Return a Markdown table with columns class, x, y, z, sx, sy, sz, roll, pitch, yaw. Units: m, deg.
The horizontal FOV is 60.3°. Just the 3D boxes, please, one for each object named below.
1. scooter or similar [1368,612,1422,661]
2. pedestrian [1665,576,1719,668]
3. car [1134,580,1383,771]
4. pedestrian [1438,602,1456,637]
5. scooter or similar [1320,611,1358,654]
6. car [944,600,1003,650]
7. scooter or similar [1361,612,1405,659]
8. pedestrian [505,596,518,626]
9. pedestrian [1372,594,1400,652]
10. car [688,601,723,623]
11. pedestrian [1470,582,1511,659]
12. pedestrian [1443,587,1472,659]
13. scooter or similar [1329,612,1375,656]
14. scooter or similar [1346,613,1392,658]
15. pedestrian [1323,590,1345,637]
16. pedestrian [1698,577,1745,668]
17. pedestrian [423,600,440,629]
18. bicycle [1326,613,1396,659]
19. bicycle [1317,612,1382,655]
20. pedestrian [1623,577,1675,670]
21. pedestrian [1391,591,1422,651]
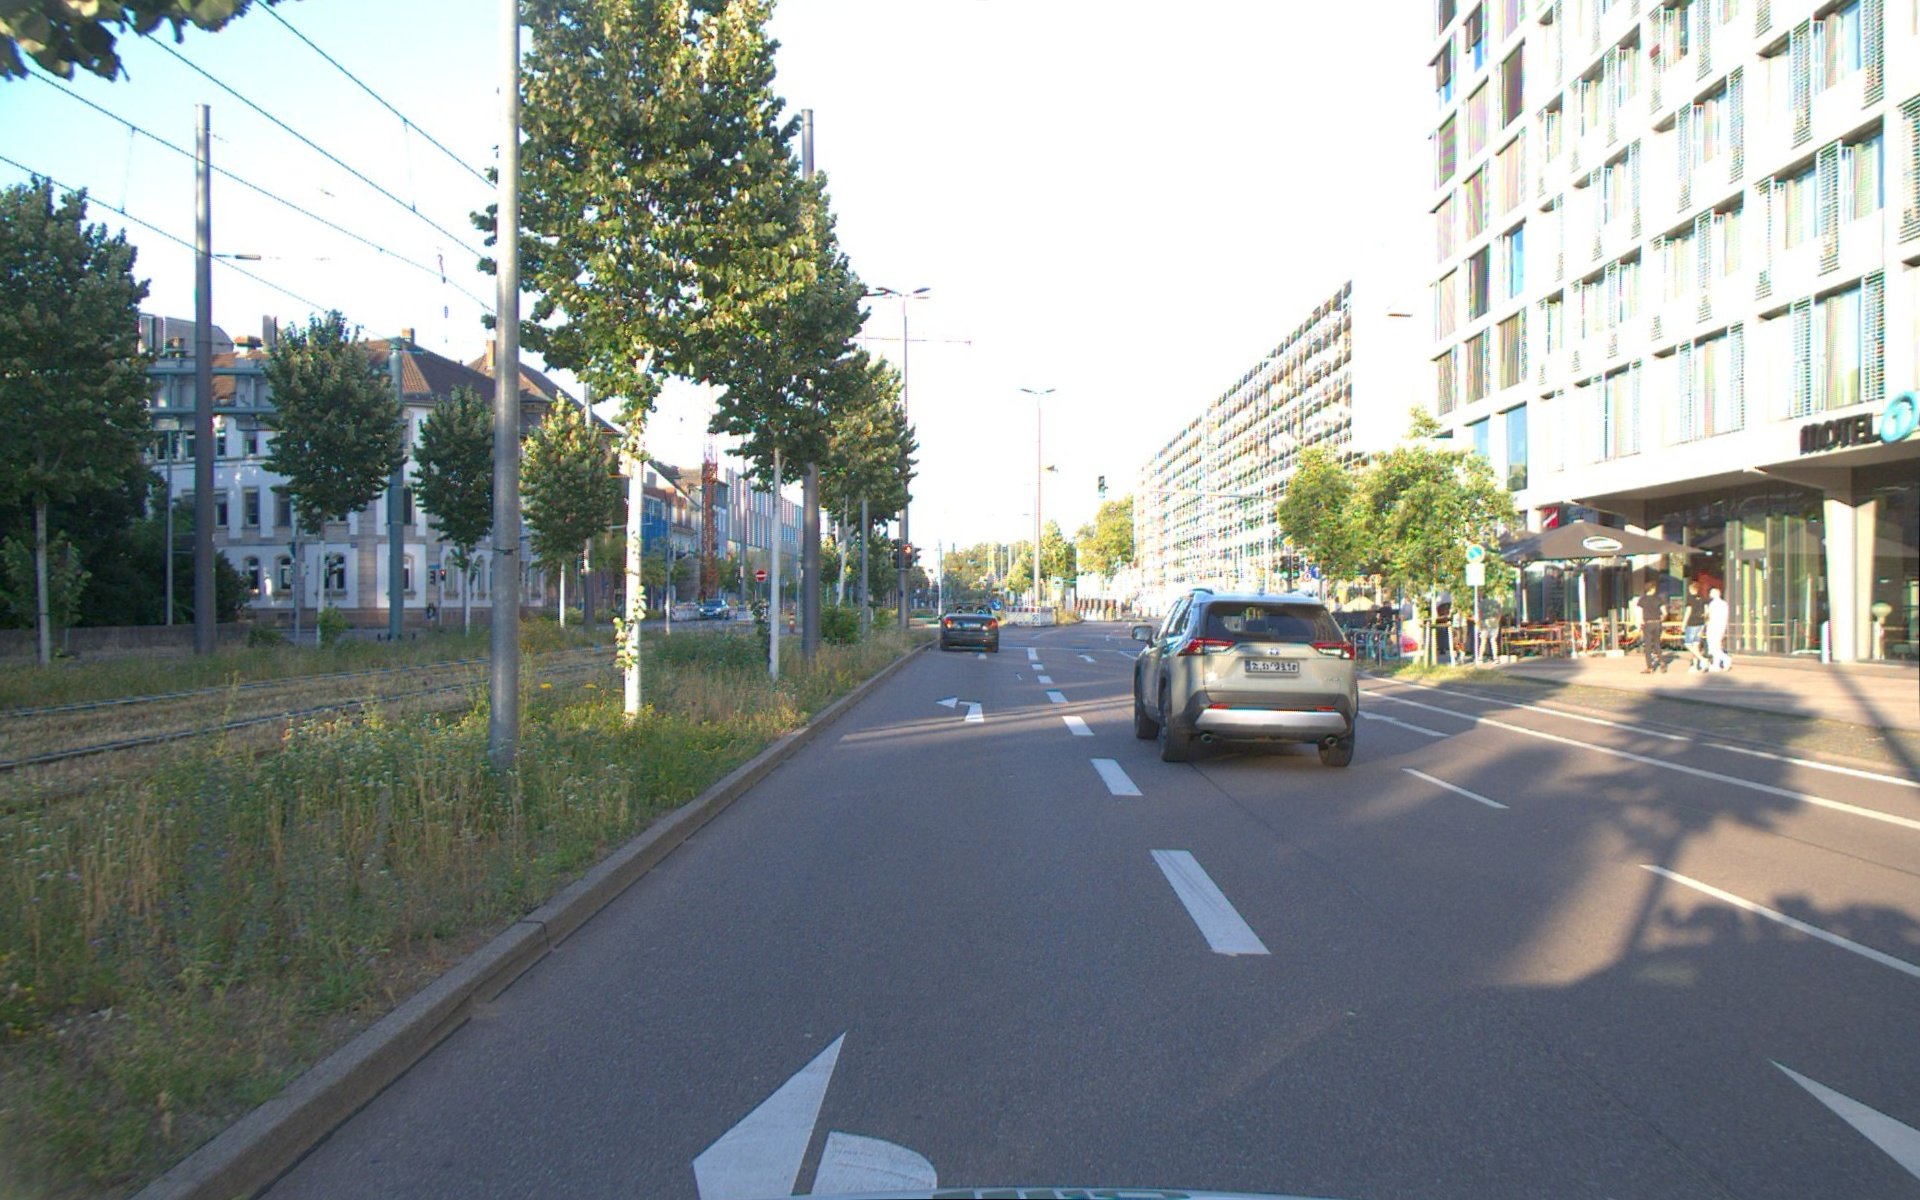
| class | x | y | z | sx | sy | sz | roll | pitch | yaw |
| --- | --- | --- | --- | --- | --- | --- | --- | --- | --- |
| scooter or similar | 11.531 | 0.961 | 43.890 | 1.266 | 1.239 | 0.535 | -3 | -1 | 25 |
| pedestrian | 15.114 | 0.454 | 34.157 | 0.740 | 1.856 | 0.941 | -2 | 0 | 10 |
| car | 2.939 | 0.674 | 17.156 | 1.796 | 1.702 | 4.282 | 1 | 0 | 0 |
| pedestrian | 19.381 | 0.769 | 65.872 | 0.600 | 1.342 | 0.621 | -3 | 0 | 19 |
| scooter or similar | 11.532 | 0.984 | 50.364 | 1.038 | 1.244 | 0.550 | -2 | 0 | 10 |
| car | 0.403 | 0.701 | 48.994 | 1.640 | 1.375 | 4.000 | 1 | 0 | 1 |
| scooter or similar | 11.622 | 0.971 | 45.463 | 1.104 | 1.235 | 0.532 | -3 | -2 | 16 |
| pedestrian | -26.927 | 0.675 | 99.262 | 0.691 | 1.745 | 0.809 | 2 | 0 | -16 |
| pedestrian | 12.843 | 0.689 | 49.878 | 0.640 | 1.732 | 0.689 | -2 | 0 | 0 |
| car | -20.027 | 0.916 | 130.116 | 1.952 | 1.608 | 4.125 | -1 | 0 | 2 |
| pedestrian | 13.525 | 0.521 | 42.211 | 0.807 | 1.921 | 0.867 | -2 | -1 | 9 |
| pedestrian | 12.806 | 0.591 | 42.586 | 0.564 | 1.817 | 0.829 | -2 | -1 | 12 |
| scooter or similar | 11.549 | 0.992 | 48.694 | 1.185 | 1.222 | 0.480 | -2 | 0 | -4 |
| scooter or similar | 11.429 | 0.994 | 46.250 | 1.132 | 1.212 | 0.510 | -2 | -2 | 2 |
| pedestrian | 15.212 | 0.545 | 67.300 | 0.752 | 1.880 | 0.678 | -1 | 0 | 1 |
| pedestrian | 15.870 | 0.467 | 34.476 | 0.605 | 1.843 | 0.777 | -3 | -1 | 10 |
| pedestrian | -27.174 | 0.750 | 85.043 | 0.591 | 1.484 | 0.935 | 1 | 0 | -3 |
| bicycle | 11.491 | 1.027 | 47.419 | 1.809 | 1.202 | 0.608 | -2 | 0 | 0 |
| bicycle | 11.585 | 0.996 | 49.228 | 1.758 | 1.214 | 0.567 | -2 | 0 | -4 |
| pedestrian | 14.332 | 0.490 | 34.422 | 0.728 | 1.881 | 0.941 | -3 | -1 | 10 |
| pedestrian | 13.519 | 0.639 | 50.076 | 0.671 | 1.765 | 0.761 | -2 | 0 | 0 |
